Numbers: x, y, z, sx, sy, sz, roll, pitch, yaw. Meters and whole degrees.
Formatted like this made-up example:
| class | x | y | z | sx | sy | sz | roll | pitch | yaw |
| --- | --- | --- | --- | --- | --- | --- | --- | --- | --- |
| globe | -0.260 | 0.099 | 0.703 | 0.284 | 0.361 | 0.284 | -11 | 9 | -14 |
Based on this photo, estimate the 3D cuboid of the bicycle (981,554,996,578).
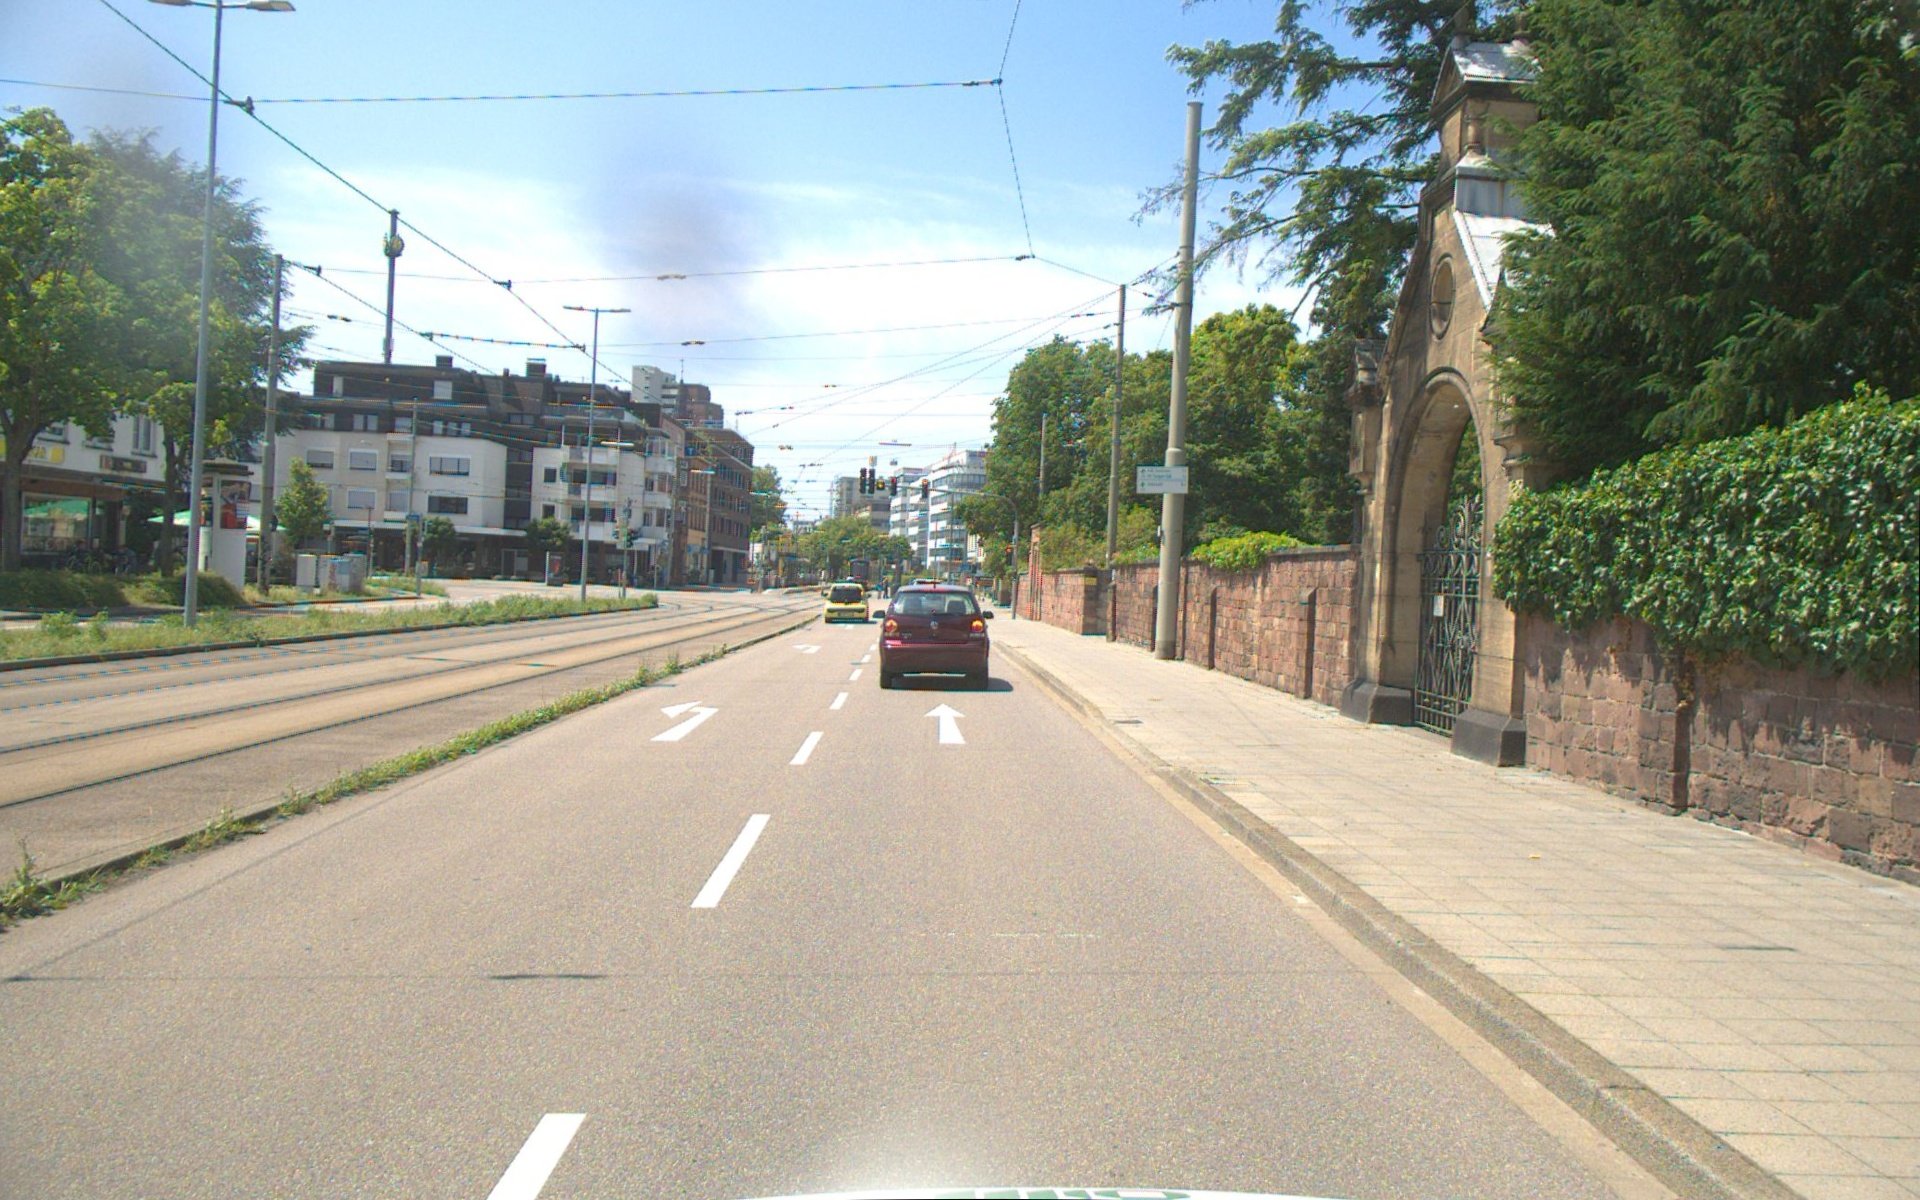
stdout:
| class | x | y | z | sx | sy | sz | roll | pitch | yaw |
| --- | --- | --- | --- | --- | --- | --- | --- | --- | --- |
| bicycle | 1.904 | -2.267 | 111.438 | 0.818 | 1.552 | 3.999 | 1 | 0 | -1 |

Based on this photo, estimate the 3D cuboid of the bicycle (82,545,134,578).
| class | x | y | z | sx | sy | sz | roll | pitch | yaw |
| --- | --- | --- | --- | --- | --- | --- | --- | --- | --- |
| bicycle | -26.770 | -1.202 | 51.986 | 0.598 | 0.996 | 2.029 | 1 | 0 | -1 |

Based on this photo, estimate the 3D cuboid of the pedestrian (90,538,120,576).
| class | x | y | z | sx | sy | sz | roll | pitch | yaw |
| --- | --- | --- | --- | --- | --- | --- | --- | --- | --- |
| pedestrian | -29.815 | -1.495 | 57.689 | 0.577 | 1.290 | 0.842 | 1 | 0 | -1 |

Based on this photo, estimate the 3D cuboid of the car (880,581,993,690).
| class | x | y | z | sx | sy | sz | roll | pitch | yaw |
| --- | --- | --- | --- | --- | --- | --- | --- | --- | --- |
| car | -0.393 | 0.469 | 25.199 | 1.577 | 1.489 | 4.084 | 0 | 1 | -2 |

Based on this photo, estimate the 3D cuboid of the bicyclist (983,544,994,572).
| class | x | y | z | sx | sy | sz | roll | pitch | yaw |
| --- | --- | --- | --- | --- | --- | --- | --- | --- | --- |
| bicyclist | 1.911 | -2.839 | 111.004 | 0.707 | 1.850 | 0.888 | 1 | 0 | -1 |

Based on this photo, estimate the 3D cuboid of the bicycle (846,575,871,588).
| class | x | y | z | sx | sy | sz | roll | pitch | yaw |
| --- | --- | --- | --- | --- | --- | --- | --- | --- | --- |
| bicycle | -7.803 | -1.420 | 127.114 | 1.829 | 1.025 | 0.578 | 1 | 0 | -6 |

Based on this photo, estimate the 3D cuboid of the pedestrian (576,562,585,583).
| class | x | y | z | sx | sy | sz | roll | pitch | yaw |
| --- | --- | --- | --- | --- | --- | --- | --- | --- | --- |
| pedestrian | -28.204 | -2.021 | 123.028 | 0.473 | 1.567 | 0.539 | 1 | 0 | 9 |

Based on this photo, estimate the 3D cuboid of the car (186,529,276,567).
| class | x | y | z | sx | sy | sz | roll | pitch | yaw |
| --- | --- | --- | --- | --- | --- | --- | --- | --- | --- |
| car | -48.523 | -3.461 | 110.119 | 4.963 | 2.382 | 2.243 | 1 | 0 | -3 |

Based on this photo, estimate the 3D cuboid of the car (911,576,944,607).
| class | x | y | z | sx | sy | sz | roll | pitch | yaw |
| --- | --- | --- | --- | --- | --- | --- | --- | --- | --- |
| car | -1.556 | -0.408 | 78.929 | 1.541 | 1.440 | 3.719 | 0 | 1 | -2 |

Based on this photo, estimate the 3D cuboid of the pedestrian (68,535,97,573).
| class | x | y | z | sx | sy | sz | roll | pitch | yaw |
| --- | --- | --- | --- | --- | --- | --- | --- | --- | --- |
| pedestrian | -30.507 | -1.604 | 57.507 | 0.577 | 1.290 | 0.842 | 1 | 0 | -1 |

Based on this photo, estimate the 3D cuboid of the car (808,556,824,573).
| class | x | y | z | sx | sy | sz | roll | pitch | yaw |
| --- | --- | --- | --- | --- | --- | --- | --- | --- | --- |
| car | -18.364 | -4.523 | 211.057 | 1.700 | 2.048 | 3.999 | 2 | 1 | -1 |

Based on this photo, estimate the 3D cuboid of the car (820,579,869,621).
| class | x | y | z | sx | sy | sz | roll | pitch | yaw |
| --- | --- | --- | --- | --- | --- | --- | --- | --- | --- |
| car | -4.318 | -0.026 | 62.119 | 1.689 | 1.470 | 3.292 | 0 | 2 | -2 |

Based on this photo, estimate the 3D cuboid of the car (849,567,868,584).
| class | x | y | z | sx | sy | sz | roll | pitch | yaw |
| --- | --- | --- | --- | --- | --- | --- | --- | --- | --- |
| car | -10.648 | -2.554 | 173.918 | 1.899 | 1.670 | 3.999 | 1 | 0 | -2 |

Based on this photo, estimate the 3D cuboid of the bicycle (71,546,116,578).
| class | x | y | z | sx | sy | sz | roll | pitch | yaw |
| --- | --- | --- | --- | --- | --- | --- | --- | --- | --- |
| bicycle | -28.048 | -1.229 | 53.546 | 0.527 | 0.996 | 1.758 | 1 | 0 | -1 |
